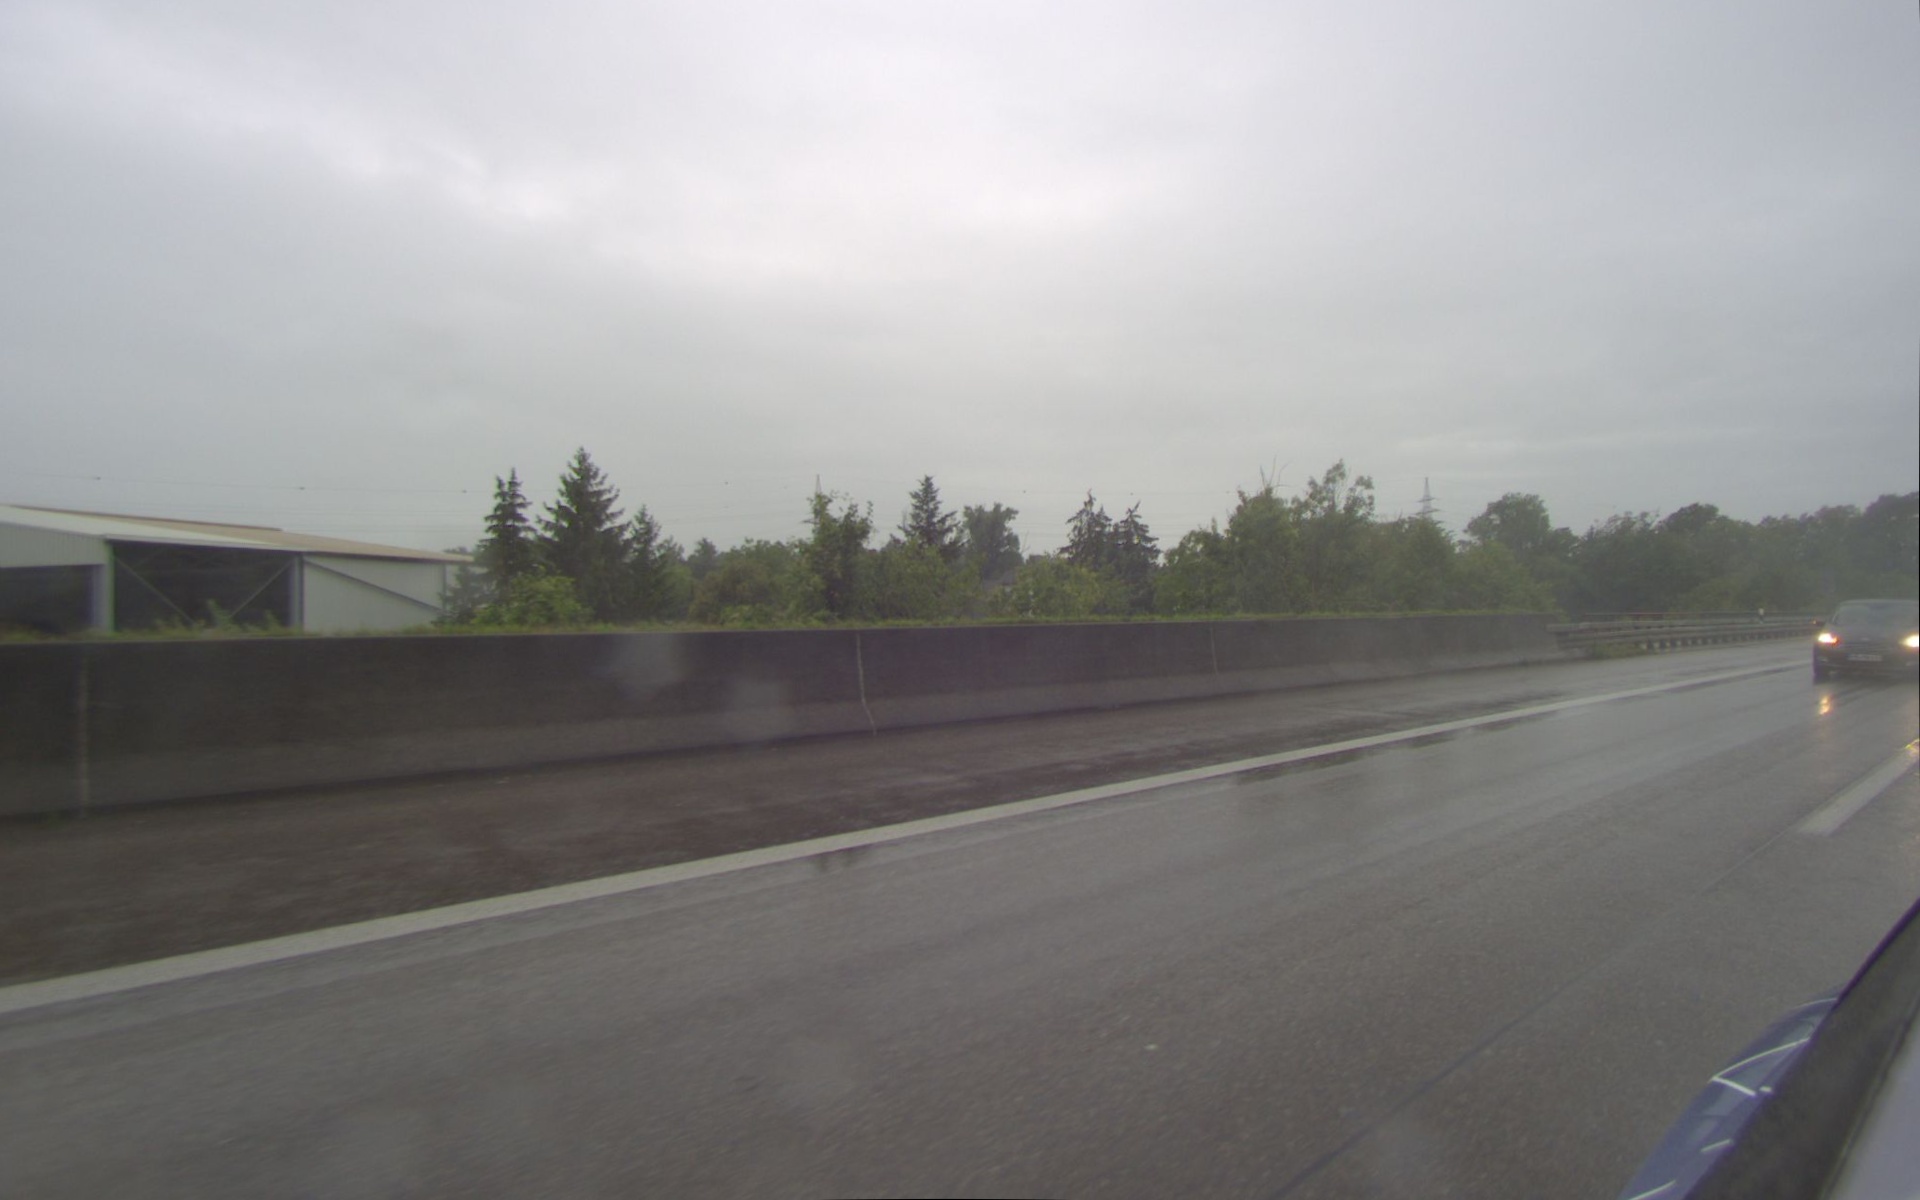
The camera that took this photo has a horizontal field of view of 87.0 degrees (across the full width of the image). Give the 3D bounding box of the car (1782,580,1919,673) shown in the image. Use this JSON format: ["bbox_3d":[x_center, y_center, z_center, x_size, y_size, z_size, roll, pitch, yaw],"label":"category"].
[{"bbox_3d":[19.705,0.504,21.539,5.618,1.768,2.462,0,0,-41],"label":"car"}]
